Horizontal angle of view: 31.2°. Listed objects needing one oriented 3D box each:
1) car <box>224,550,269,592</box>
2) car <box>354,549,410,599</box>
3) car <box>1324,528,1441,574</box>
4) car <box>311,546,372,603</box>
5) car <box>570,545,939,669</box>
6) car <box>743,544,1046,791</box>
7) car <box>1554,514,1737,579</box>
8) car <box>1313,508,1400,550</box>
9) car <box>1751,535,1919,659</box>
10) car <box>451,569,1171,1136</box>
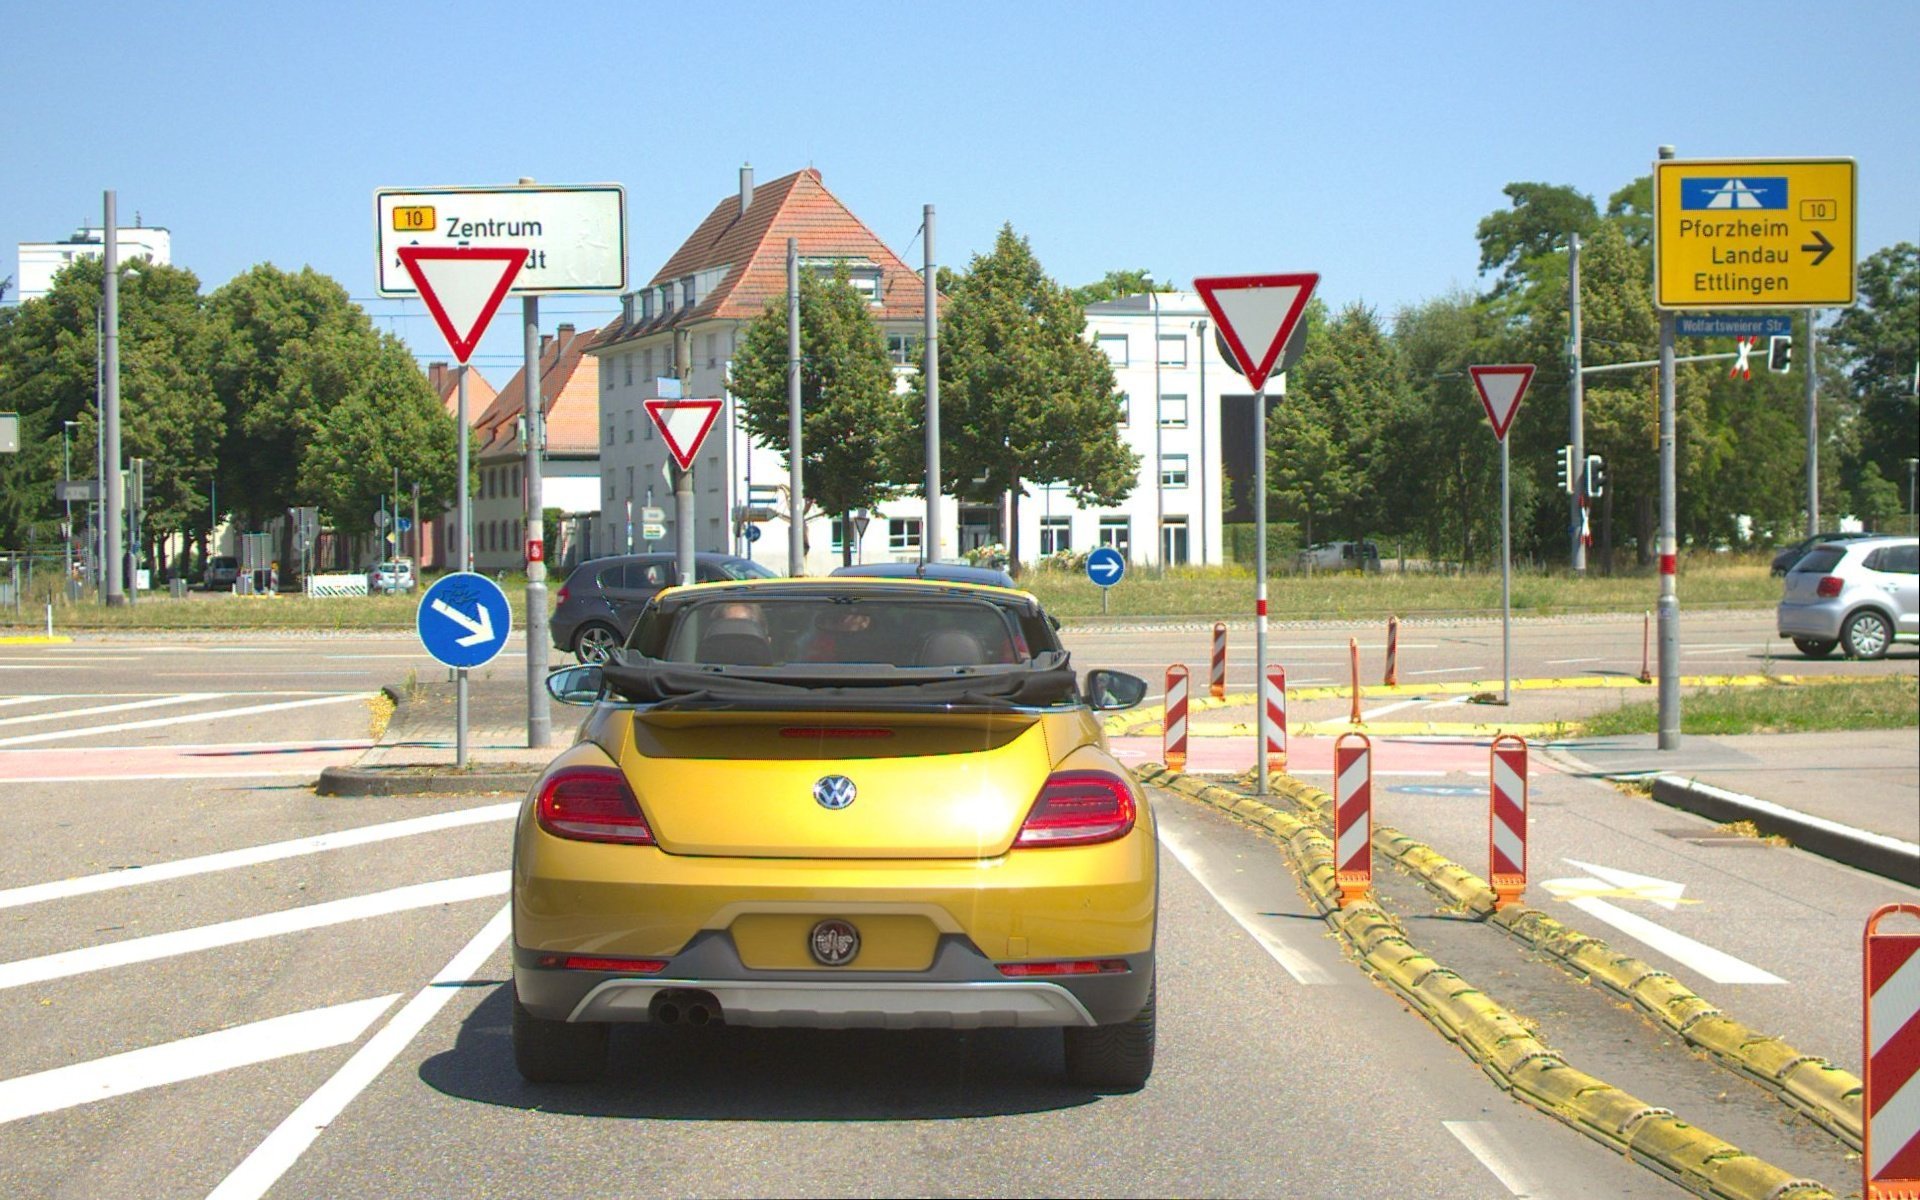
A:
[{"bbox_3d":[-34.515,-1.407,166.313,1.993,2.007,4.001,1,0,-13],"label":"car"},{"bbox_3d":[-23.996,-1.085,142.688,1.993,2.007,4.001,1,0,-13],"label":"car"},{"bbox_3d":[16.164,-1.878,131.732,3.986,1.678,2.001,1,0,-13],"label":"car"},{"bbox_3d":[-22.694,-0.941,126.052,1.993,2.007,4.001,1,0,-13],"label":"car"},{"bbox_3d":[-2.450,0.078,41.326,4.070,1.398,1.752,0,2,15],"label":"car"},{"bbox_3d":[-0.353,0.382,23.005,1.797,1.435,4.000,0,2,2],"label":"car"},{"bbox_3d":[16.061,-1.261,80.724,1.993,1.459,4.000,1,0,-32],"label":"car"},{"bbox_3d":[19.543,-3.489,169.302,3.990,2.007,1.999,1,0,15],"label":"car"},{"bbox_3d":[11.760,-0.068,41.335,3.986,1.417,1.783,-1,1,-10],"label":"car"},{"bbox_3d":[-0.400,0.629,10.594,1.825,1.398,3.662,0,1,-1],"label":"car"}]
